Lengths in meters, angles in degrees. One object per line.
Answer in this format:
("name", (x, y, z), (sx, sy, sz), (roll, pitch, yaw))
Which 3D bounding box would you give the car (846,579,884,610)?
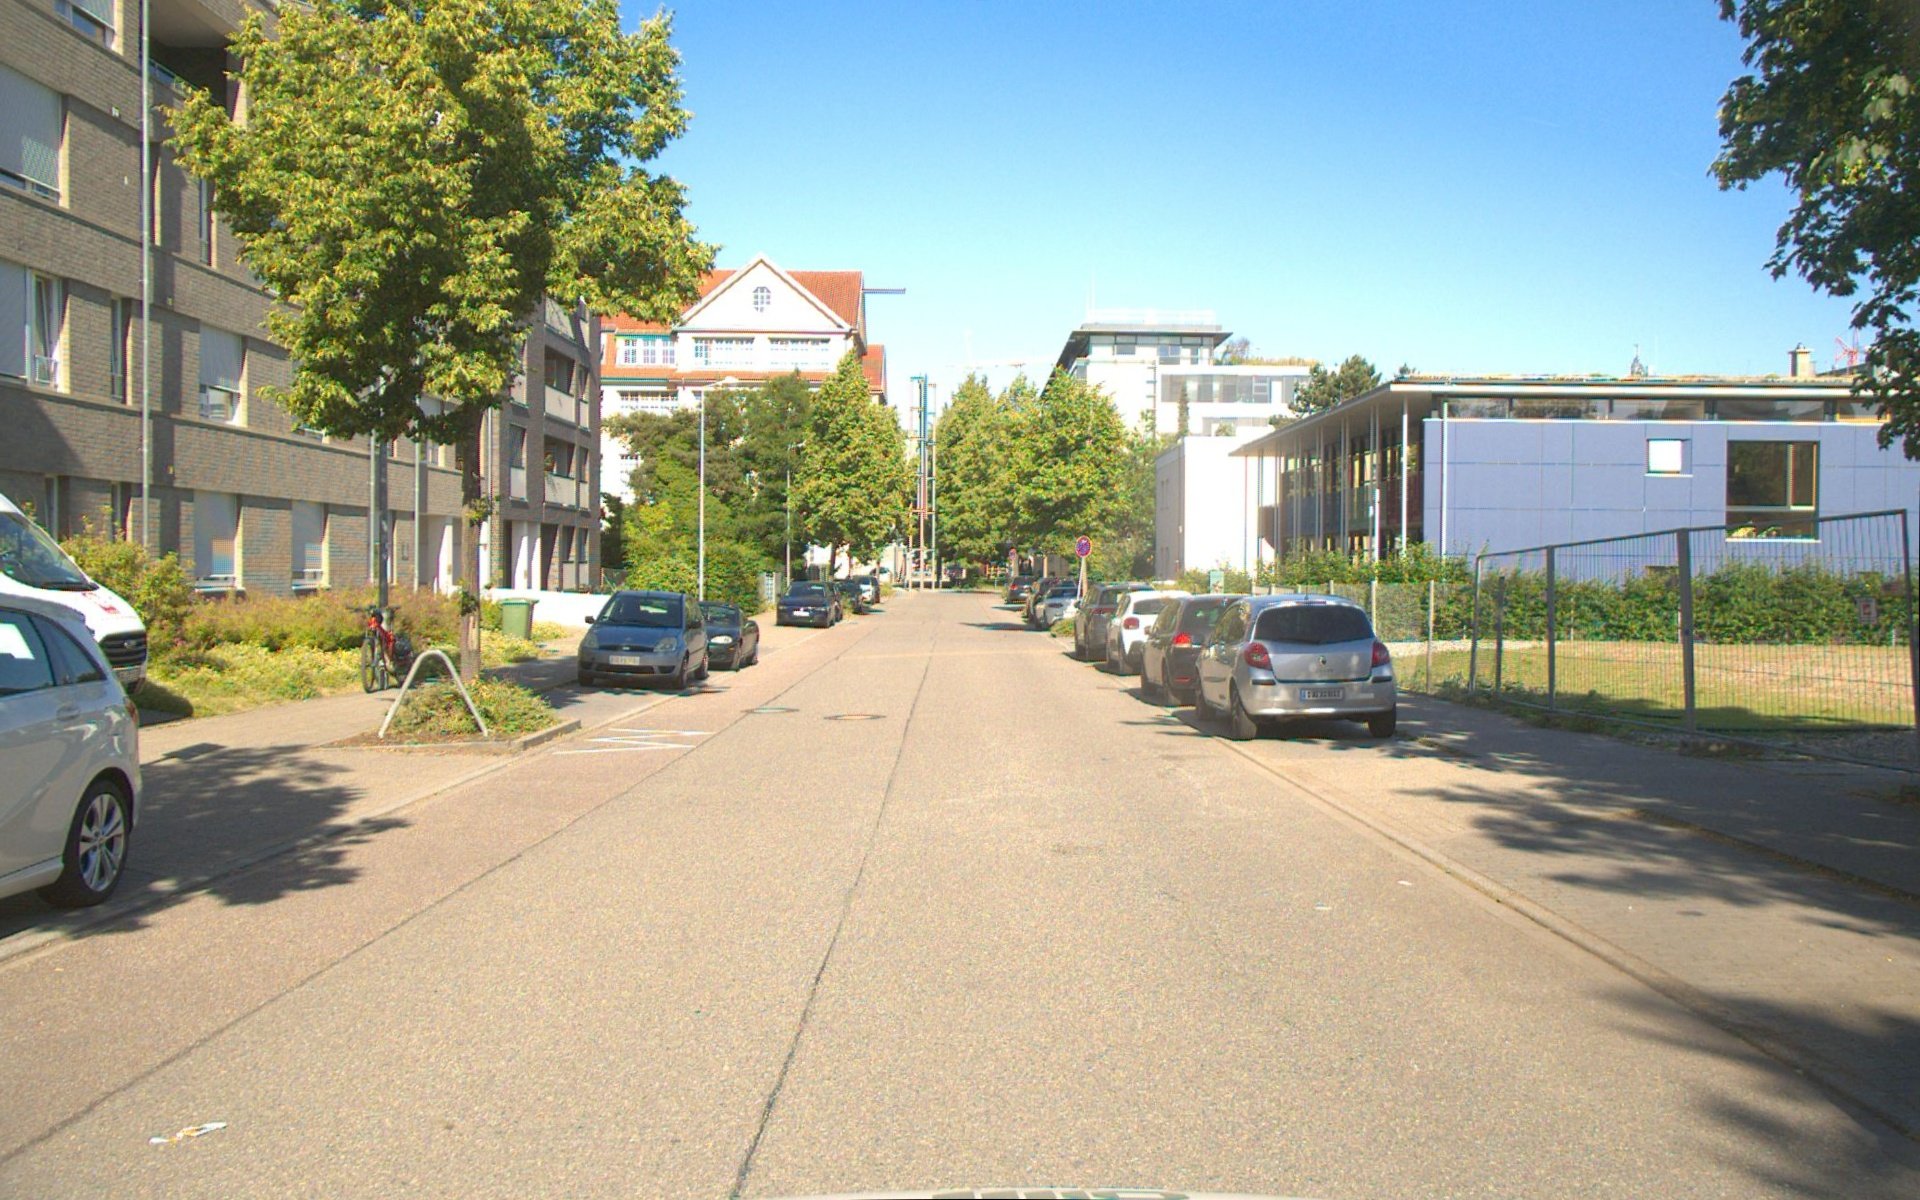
("car", (-4.845, -0.310, 84.898), (1.741, 1.557, 4.000), (0, 0, 0))

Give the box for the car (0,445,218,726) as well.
("car", (-10.429, -0.442, 15.991), (5.342, 2.422, 1.920), (8, 0, -4))

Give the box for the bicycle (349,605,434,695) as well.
("bicycle", (-7.725, 0.654, 22.542), (0.277, 1.144, 1.986), (0, 1, 6))

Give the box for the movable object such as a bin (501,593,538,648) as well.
("movable object such as a bin", (-9.105, 0.421, 34.207), (0.595, 1.109, 0.636), (0, 2, -2))

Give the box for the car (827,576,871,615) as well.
("car", (-4.780, -0.201, 71.636), (1.660, 1.633, 3.942), (0, 1, 0))

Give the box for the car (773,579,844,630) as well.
("car", (-5.050, 0.133, 55.481), (1.725, 1.554, 4.002), (3, 1, 3))

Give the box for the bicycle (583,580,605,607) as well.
("bicycle", (-12.129, -0.222, 54.854), (0.248, 0.852, 1.775), (0, 2, 3))

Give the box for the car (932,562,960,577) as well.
("car", (-2.039, -4.425, 240.371), (3.905, 2.048, 2.001), (0, 2, 1))

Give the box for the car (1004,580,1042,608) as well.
("car", (3.443, -0.324, 91.481), (1.953, 1.512, 4.000), (0, 0, 0))

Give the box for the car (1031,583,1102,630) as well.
("car", (3.504, 0.193, 55.020), (1.793, 1.447, 4.231), (-2, 0, -3))

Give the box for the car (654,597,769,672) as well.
("car", (-4.768, 0.631, 32.180), (1.566, 1.238, 3.876), (2, 1, 1))

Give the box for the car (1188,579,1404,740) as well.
("car", (3.661, 0.573, 18.665), (1.628, 1.539, 4.001), (0, 2, 0))

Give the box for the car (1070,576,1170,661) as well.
("car", (3.457, 0.351, 36.391), (1.691, 1.681, 4.325), (-2, 1, -1))

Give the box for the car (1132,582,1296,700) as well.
("car", (3.509, 0.532, 23.495), (1.653, 1.520, 4.077), (0, 0, -1))

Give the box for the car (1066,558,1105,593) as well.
("car", (7.399, -1.427, 97.937), (1.982, 2.049, 4.000), (0, 0, 0))

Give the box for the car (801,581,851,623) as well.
("car", (-5.005, 0.054, 62.044), (1.597, 1.527, 3.577), (0, 1, 0))

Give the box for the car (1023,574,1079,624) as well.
("car", (3.383, -0.055, 61.935), (1.784, 1.748, 4.119), (-2, 1, -1))

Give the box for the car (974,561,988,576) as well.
("car", (3.053, -4.610, 241.740), (1.952, 2.048, 4.001), (0, 2, 0))

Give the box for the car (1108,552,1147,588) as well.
("car", (9.901, -1.768, 97.972), (1.953, 2.049, 4.000), (0, 1, 0))

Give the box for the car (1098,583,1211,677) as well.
("car", (3.607, 0.506, 31.238), (1.645, 1.569, 3.849), (0, 2, 0))

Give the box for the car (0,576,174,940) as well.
("car", (-4.908, 0.686, 6.696), (1.626, 1.559, 4.284), (0, 1, -4))

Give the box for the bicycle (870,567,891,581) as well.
("bicycle", (-5.257, -1.720, 109.395), (1.438, 0.857, 0.335), (0, 1, -4))

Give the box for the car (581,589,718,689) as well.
("car", (-4.971, 0.576, 26.889), (1.578, 1.490, 3.873), (0, 1, -1))

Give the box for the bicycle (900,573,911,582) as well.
("bicycle", (-4.280, -1.742, 129.337), (0.370, 0.695, 1.066), (-1, 2, -36))

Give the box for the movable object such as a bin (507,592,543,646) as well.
("movable object such as a bin", (-9.209, 0.396, 35.022), (0.595, 1.102, 0.636), (0, 2, -2))
